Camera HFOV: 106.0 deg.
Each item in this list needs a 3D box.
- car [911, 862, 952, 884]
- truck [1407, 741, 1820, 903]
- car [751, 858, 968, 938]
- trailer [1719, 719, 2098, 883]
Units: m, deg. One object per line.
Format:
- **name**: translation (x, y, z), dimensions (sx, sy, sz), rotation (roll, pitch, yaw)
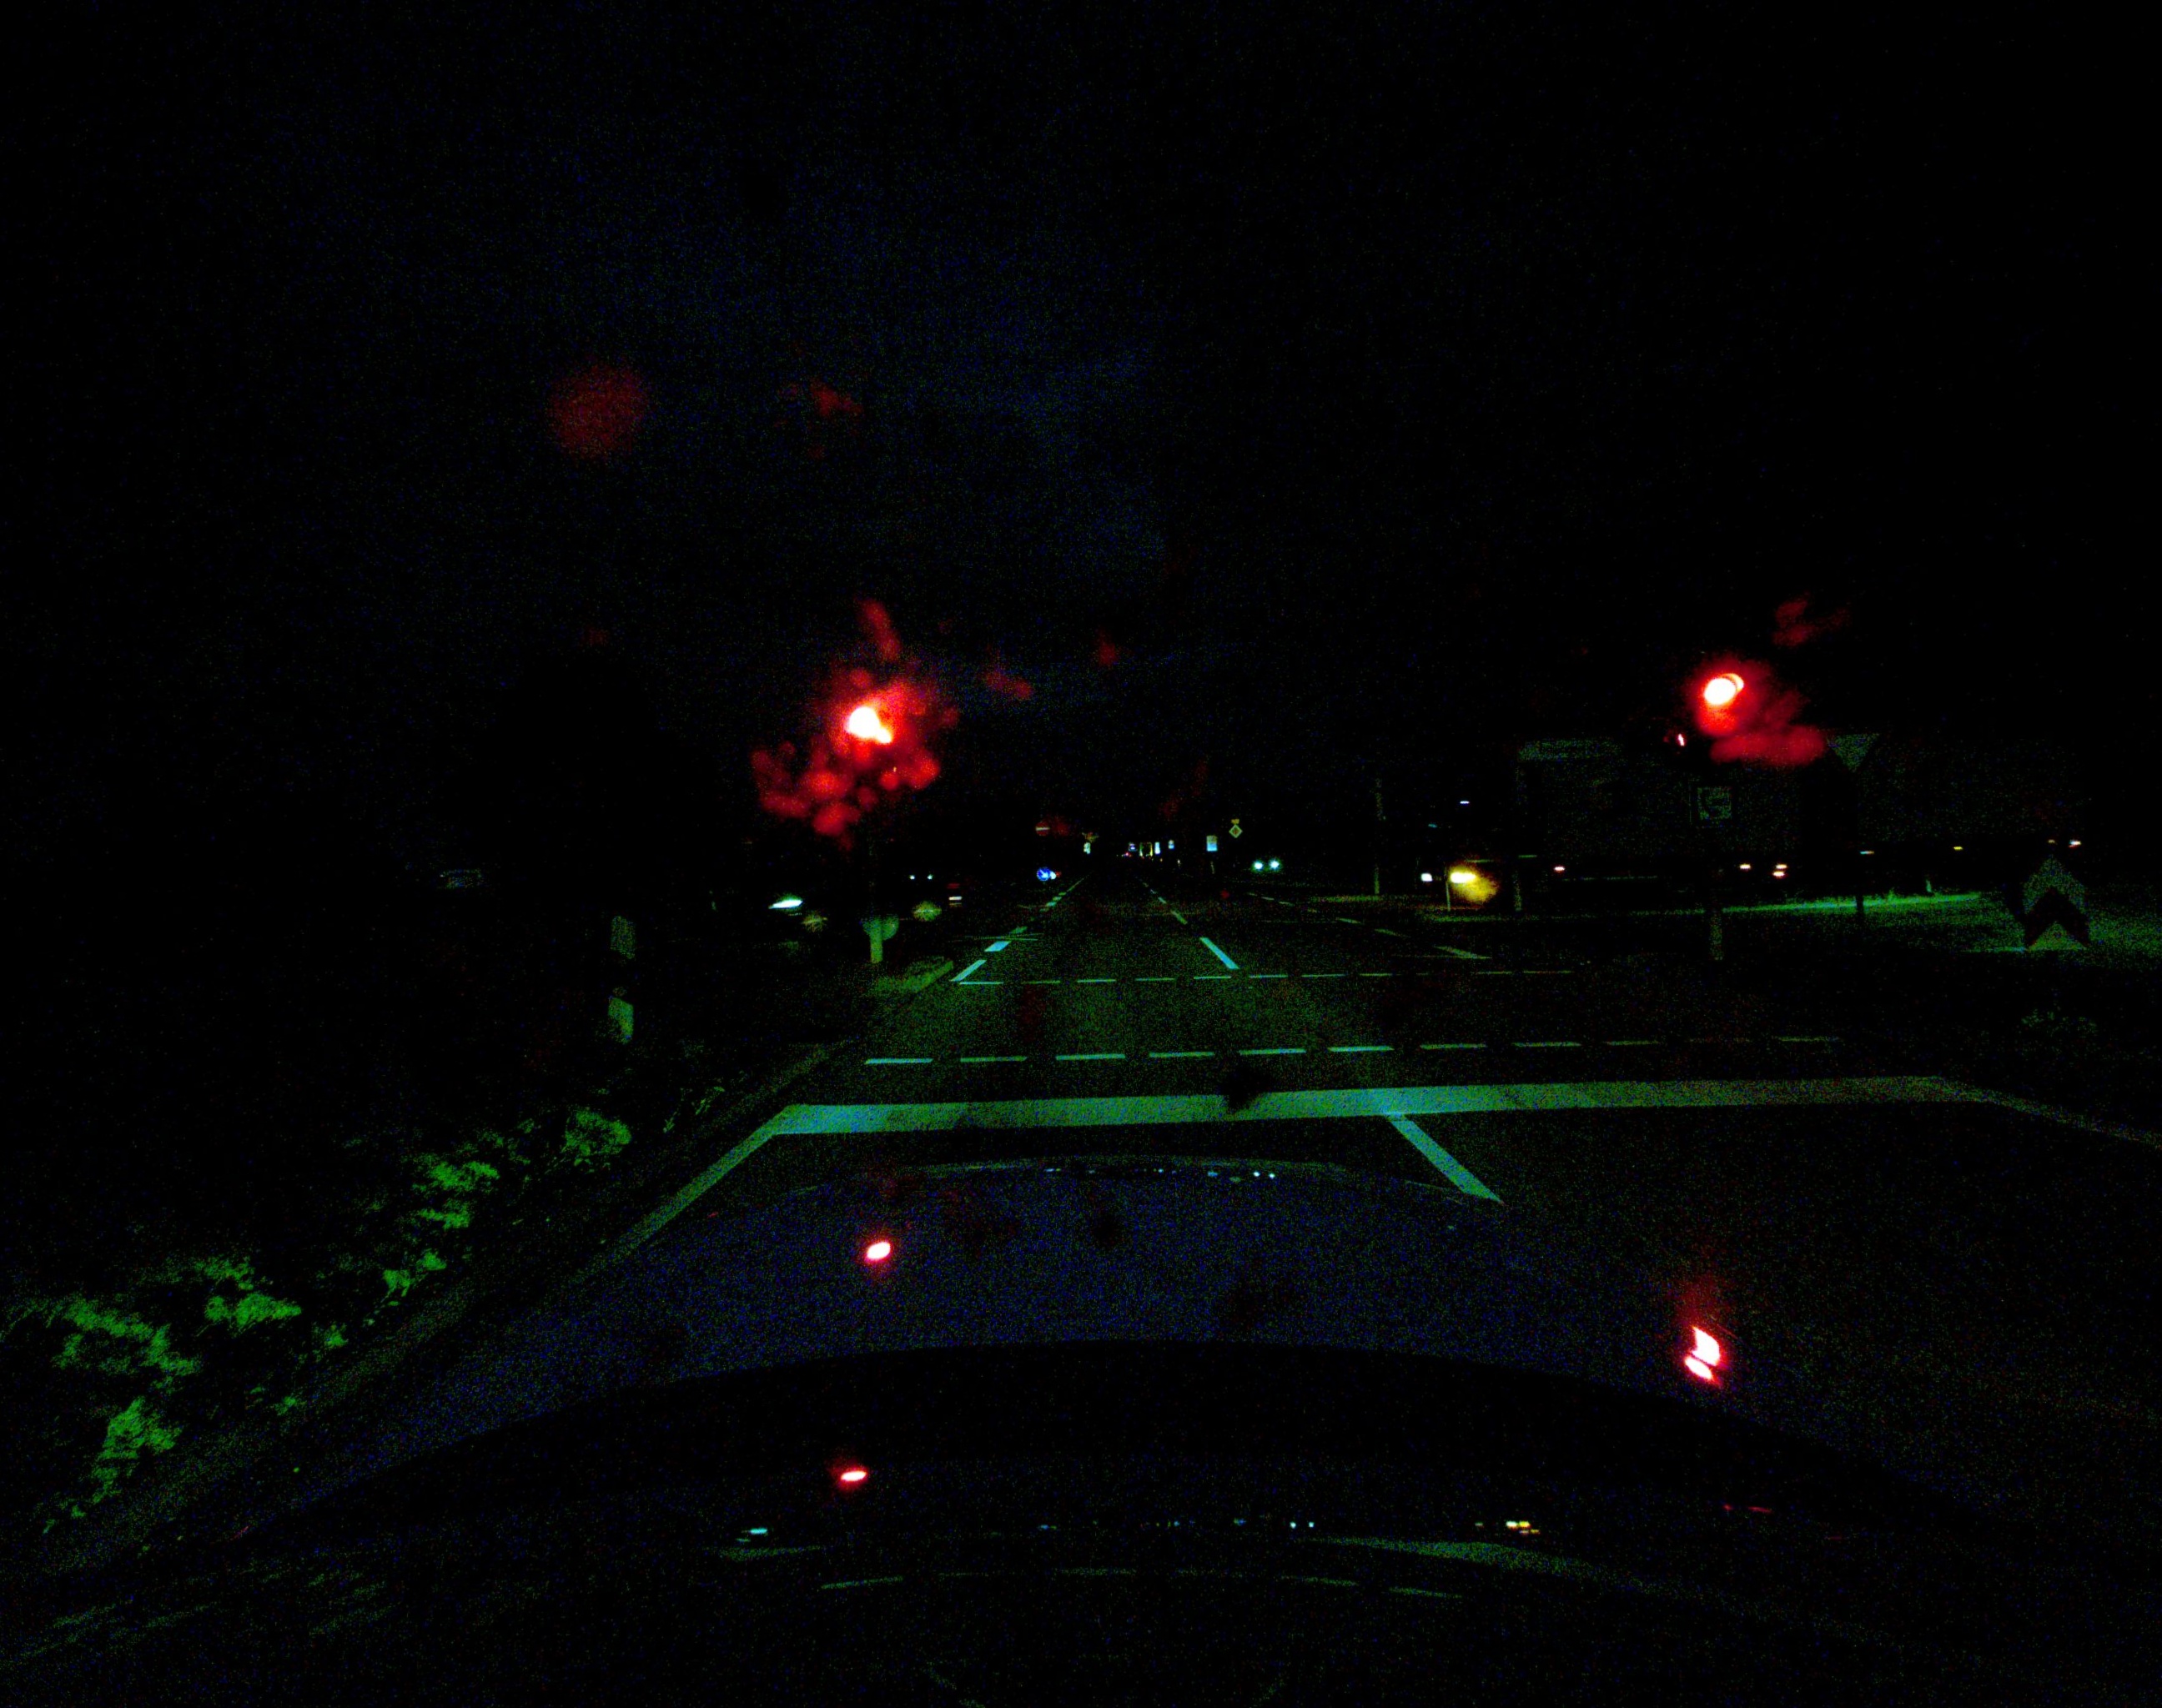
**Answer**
- **car**: translation (-10.613, 1.342, 58.129), dimensions (1.986, 1.387, 4.002), rotation (-2, 0, 2)
- **truck**: translation (14.961, -0.888, 23.332), dimensions (10.016, 3.979, 2.922), rotation (-2, 0, -3)
- **car**: translation (-5.275, 0.970, 19.604), dimensions (4.634, 1.520, 1.979), rotation (-3, 0, -33)
- **trailer**: translation (24.305, -1.533, 24.120), dimensions (9.036, 4.302, 2.917), rotation (-2, 0, -7)
